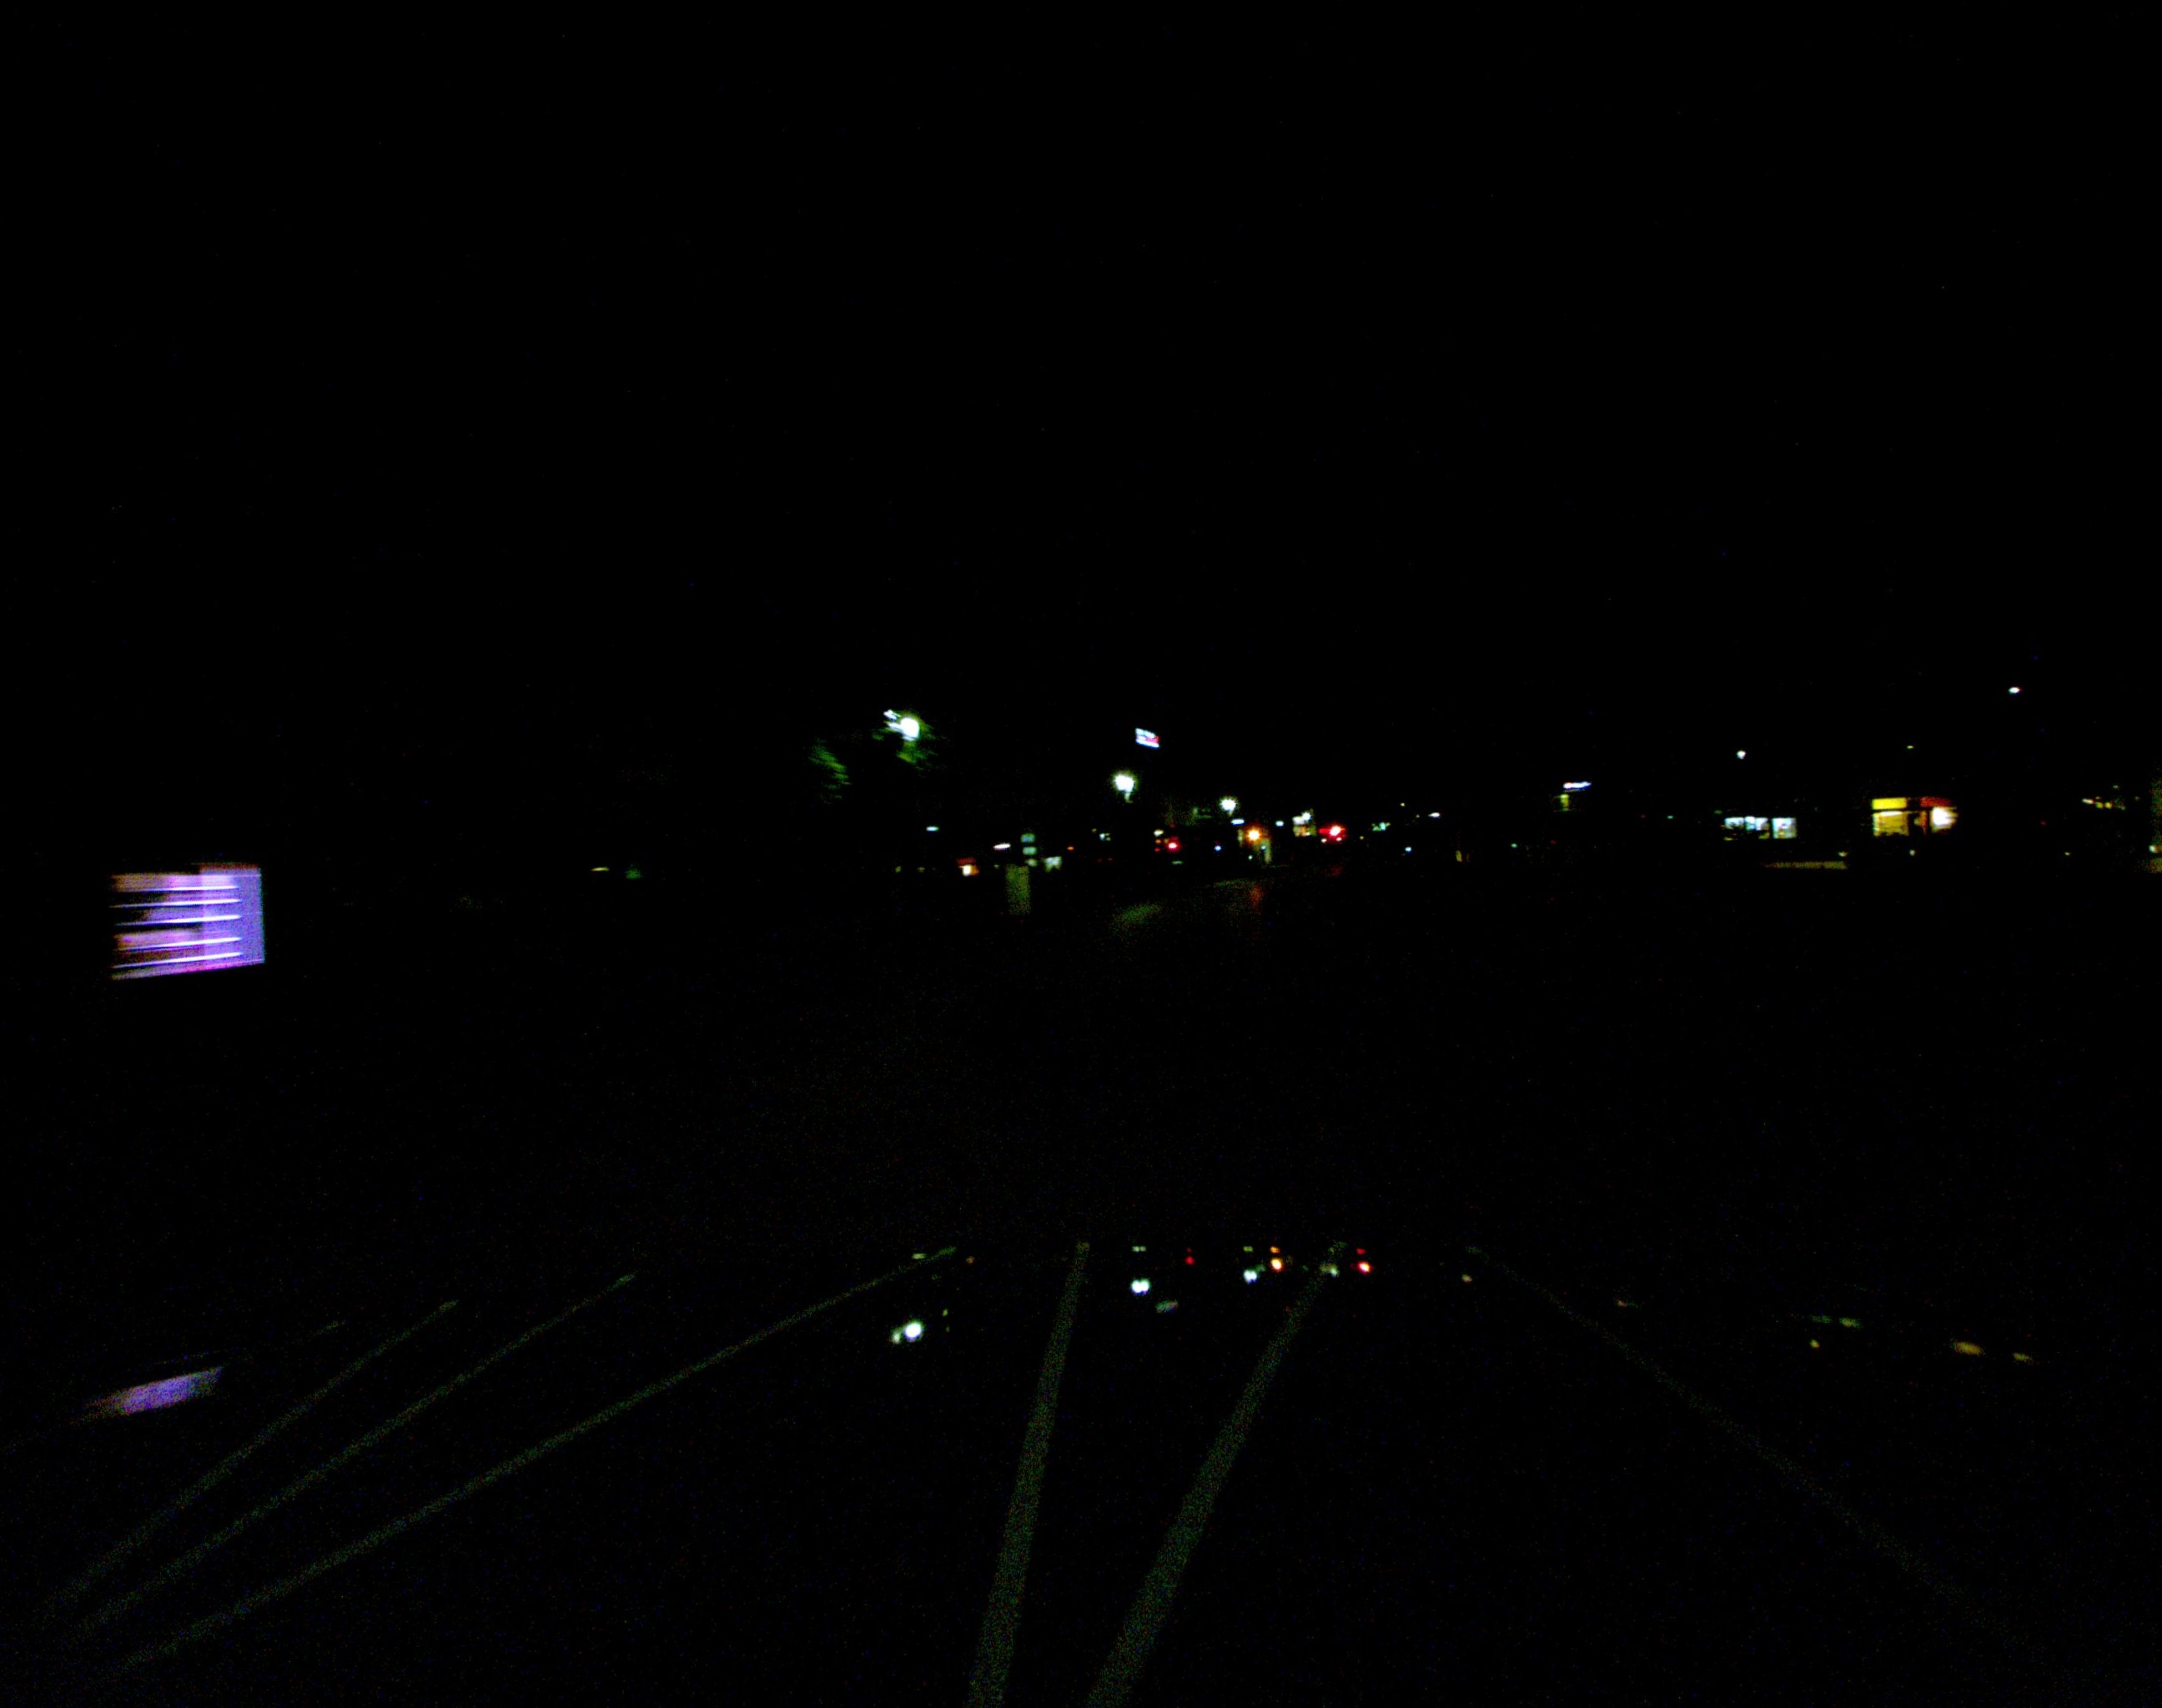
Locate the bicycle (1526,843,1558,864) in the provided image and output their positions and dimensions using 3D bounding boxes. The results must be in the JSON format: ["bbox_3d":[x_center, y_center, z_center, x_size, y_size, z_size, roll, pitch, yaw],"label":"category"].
[{"bbox_3d":[25.626,-0.024,42.282,0.608,1.158,1.747,-2,0,-3],"label":"bicycle"}]

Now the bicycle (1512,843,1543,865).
[{"bbox_3d":[24.548,0.006,41.798,0.544,1.148,1.747,-2,0,-3],"label":"bicycle"}]

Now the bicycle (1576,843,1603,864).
[{"bbox_3d":[27.551,-0.030,41.193,0.608,1.118,1.748,-2,1,11],"label":"bicycle"}]

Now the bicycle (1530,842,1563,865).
[{"bbox_3d":[25.085,-0.021,40.960,0.608,1.158,1.747,-2,0,-3],"label":"bicycle"}]

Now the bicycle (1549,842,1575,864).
[{"bbox_3d":[26.122,-0.052,41.293,0.608,1.158,1.749,-2,0,12],"label":"bicycle"}]

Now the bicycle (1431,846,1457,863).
[{"bbox_3d":[25.601,0.031,53.572,1.617,1.099,0.671,-3,2,29],"label":"bicycle"}]

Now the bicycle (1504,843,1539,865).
[{"bbox_3d":[23.874,0.012,41.232,0.761,1.155,1.747,-2,0,-3],"label":"bicycle"}]

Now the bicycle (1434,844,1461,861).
[{"bbox_3d":[26.361,-0.107,54.640,1.617,1.099,0.671,-3,1,29],"label":"bicycle"}]

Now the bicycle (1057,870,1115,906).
[{"bbox_3d":[0.166,1.087,24.364,1.753,1.056,0.656,-3,0,4],"label":"bicycle"}]

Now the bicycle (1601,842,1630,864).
[{"bbox_3d":[29.347,-0.051,41.724,0.608,1.158,1.749,-2,0,11],"label":"bicycle"}]

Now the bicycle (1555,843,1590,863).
[{"bbox_3d":[26.902,-0.022,41.608,0.609,1.063,1.746,-2,0,-7],"label":"bicycle"}]

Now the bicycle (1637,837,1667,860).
[{"bbox_3d":[31.279,-0.292,41.667,0.608,1.211,1.749,-2,0,11],"label":"bicycle"}]

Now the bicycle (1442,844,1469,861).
[{"bbox_3d":[28.059,-0.103,56.931,1.770,1.157,0.671,-2,1,29],"label":"bicycle"}]

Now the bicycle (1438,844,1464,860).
[{"bbox_3d":[26.872,-0.161,55.217,1.617,1.099,0.671,-3,2,29],"label":"bicycle"}]

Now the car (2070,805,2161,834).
[{"bbox_3d":[75.510,-2.480,55.034,4.406,1.925,1.964,-2,0,44],"label":"car"}]

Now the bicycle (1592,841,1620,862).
[{"bbox_3d":[28.562,-0.126,41.379,0.608,1.094,1.749,-2,0,11],"label":"bicycle"}]
